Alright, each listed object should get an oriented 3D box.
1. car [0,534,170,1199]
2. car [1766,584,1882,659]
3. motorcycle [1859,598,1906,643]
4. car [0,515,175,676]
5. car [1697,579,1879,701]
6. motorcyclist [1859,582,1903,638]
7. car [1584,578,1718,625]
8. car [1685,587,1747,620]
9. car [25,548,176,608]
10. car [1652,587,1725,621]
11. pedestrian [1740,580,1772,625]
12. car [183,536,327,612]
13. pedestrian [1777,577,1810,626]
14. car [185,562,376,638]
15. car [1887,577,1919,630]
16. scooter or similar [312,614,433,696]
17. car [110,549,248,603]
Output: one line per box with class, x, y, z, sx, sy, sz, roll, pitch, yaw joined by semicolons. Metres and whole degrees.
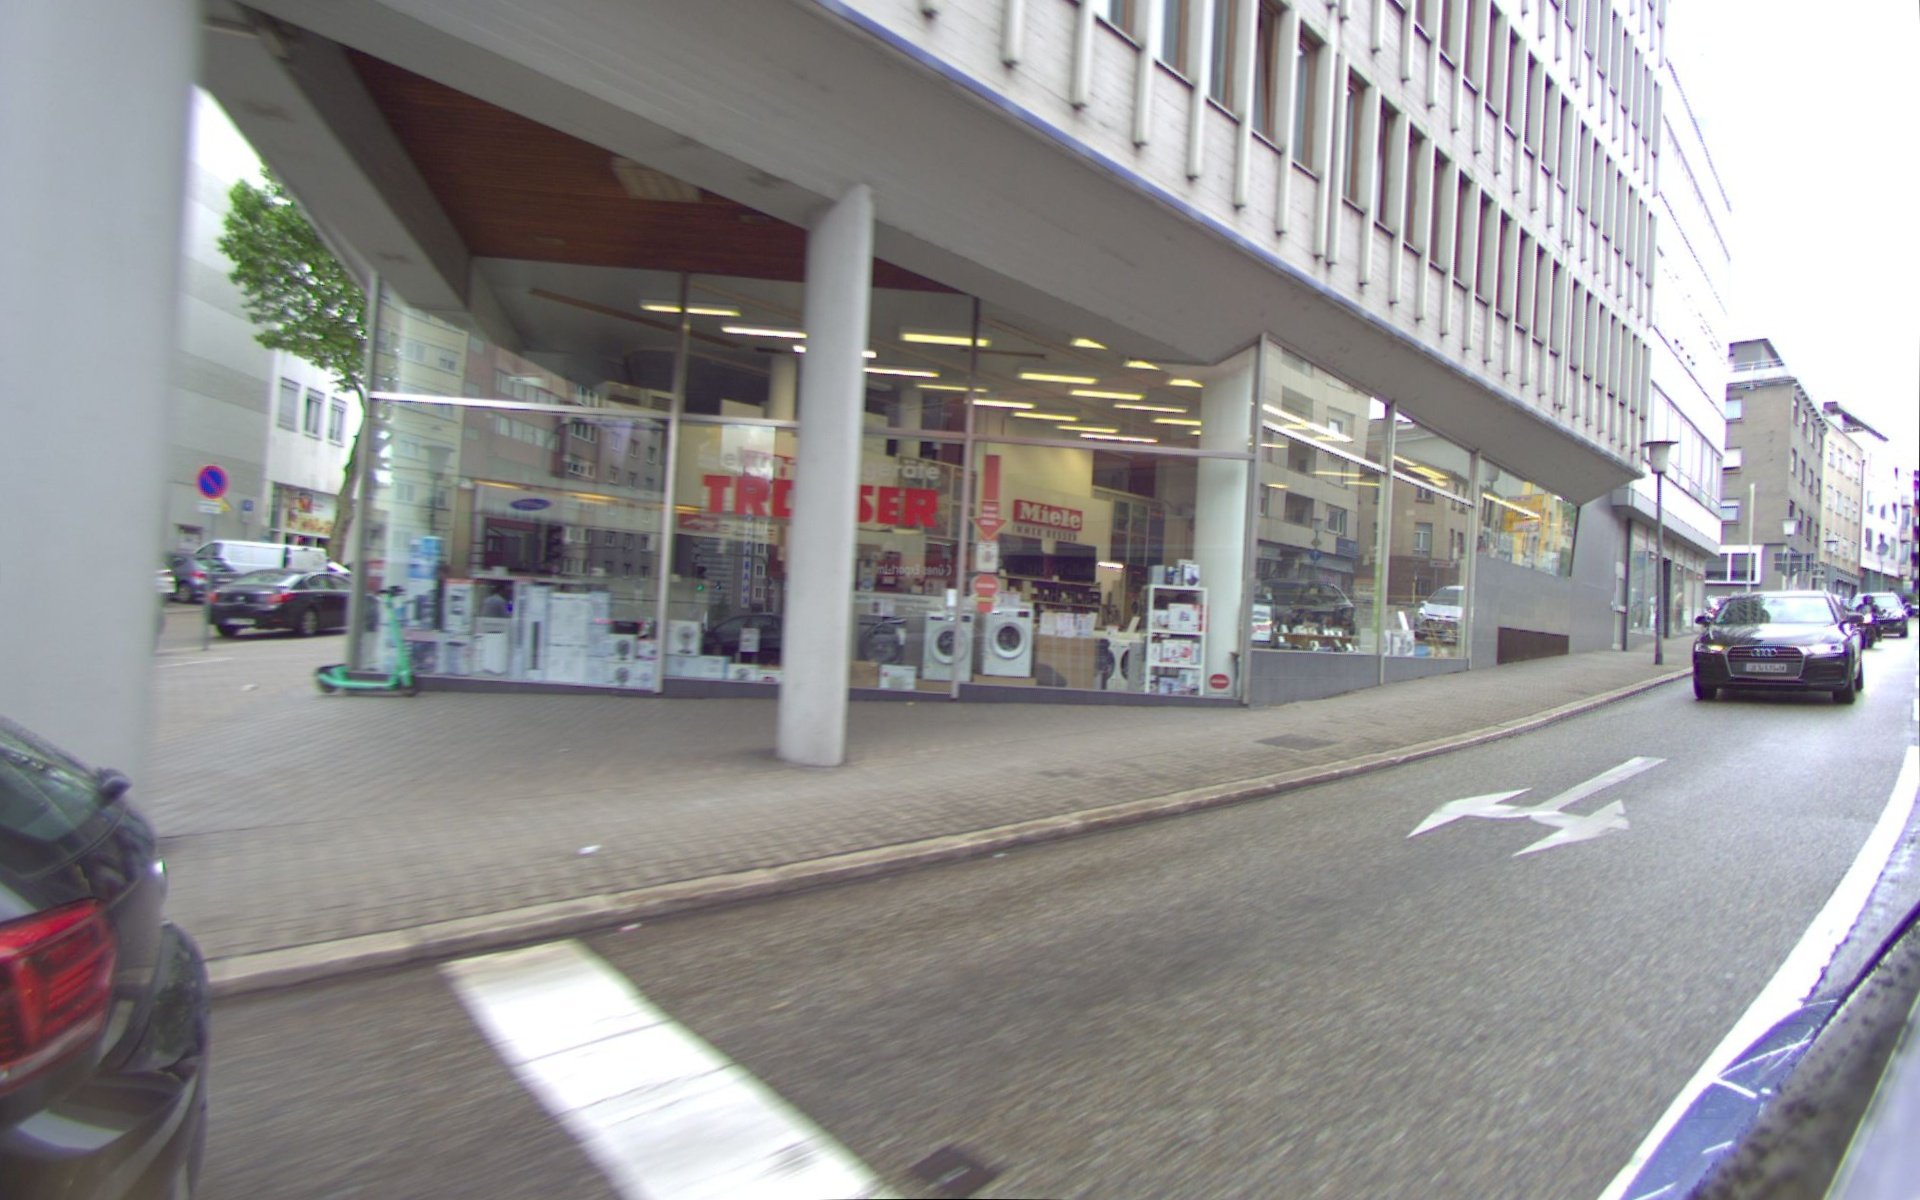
car;-3.183;0.654;0.875;3.928;1.495;1.692;0;1;-39
car;19.892;0.476;23.305;1.824;1.561;4.189;-3;-2;41
motorcycle;26.913;0.579;29.559;0.843;1.241;2.339;-2;-1;40
car;-13.229;-0.104;13.869;1.920;2.022;4.816;0;2;-10
car;12.540;0.507;15.238;1.822;1.580;4.136;-2;-1;43
motorcyclist;26.913;0.289;29.589;0.843;1.610;0.949;-2;-2;40
car;26.511;0.035;38.999;3.966;1.468;1.781;5;3;29
car;37.055;0.143;49.574;4.364;1.530;1.790;0;1;-45
car;-24.186;-0.638;28.484;3.641;1.573;1.618;1;1;19
car;32.856;0.160;45.615;4.537;1.433;1.791;0;2;-43
pedestrian;28.715;0.082;36.499;0.765;1.569;0.877;5;3;42
car;-23.659;-0.890;34.027;3.786;2.430;1.898;1;1;10
pedestrian;30.371;0.037;36.867;0.783;1.726;1.104;4;3;42
car;-14.783;-0.060;22.311;1.805;1.513;4.141;1;2;-6
car;36.025;0.123;37.944;1.844;1.927;3.706;1;1;43
scooter or similar;-6.271;0.583;10.820;1.104;0.834;0.308;1;1;-2
car;-24.202;-0.743;31.371;3.641;1.573;1.617;1;-1;19
